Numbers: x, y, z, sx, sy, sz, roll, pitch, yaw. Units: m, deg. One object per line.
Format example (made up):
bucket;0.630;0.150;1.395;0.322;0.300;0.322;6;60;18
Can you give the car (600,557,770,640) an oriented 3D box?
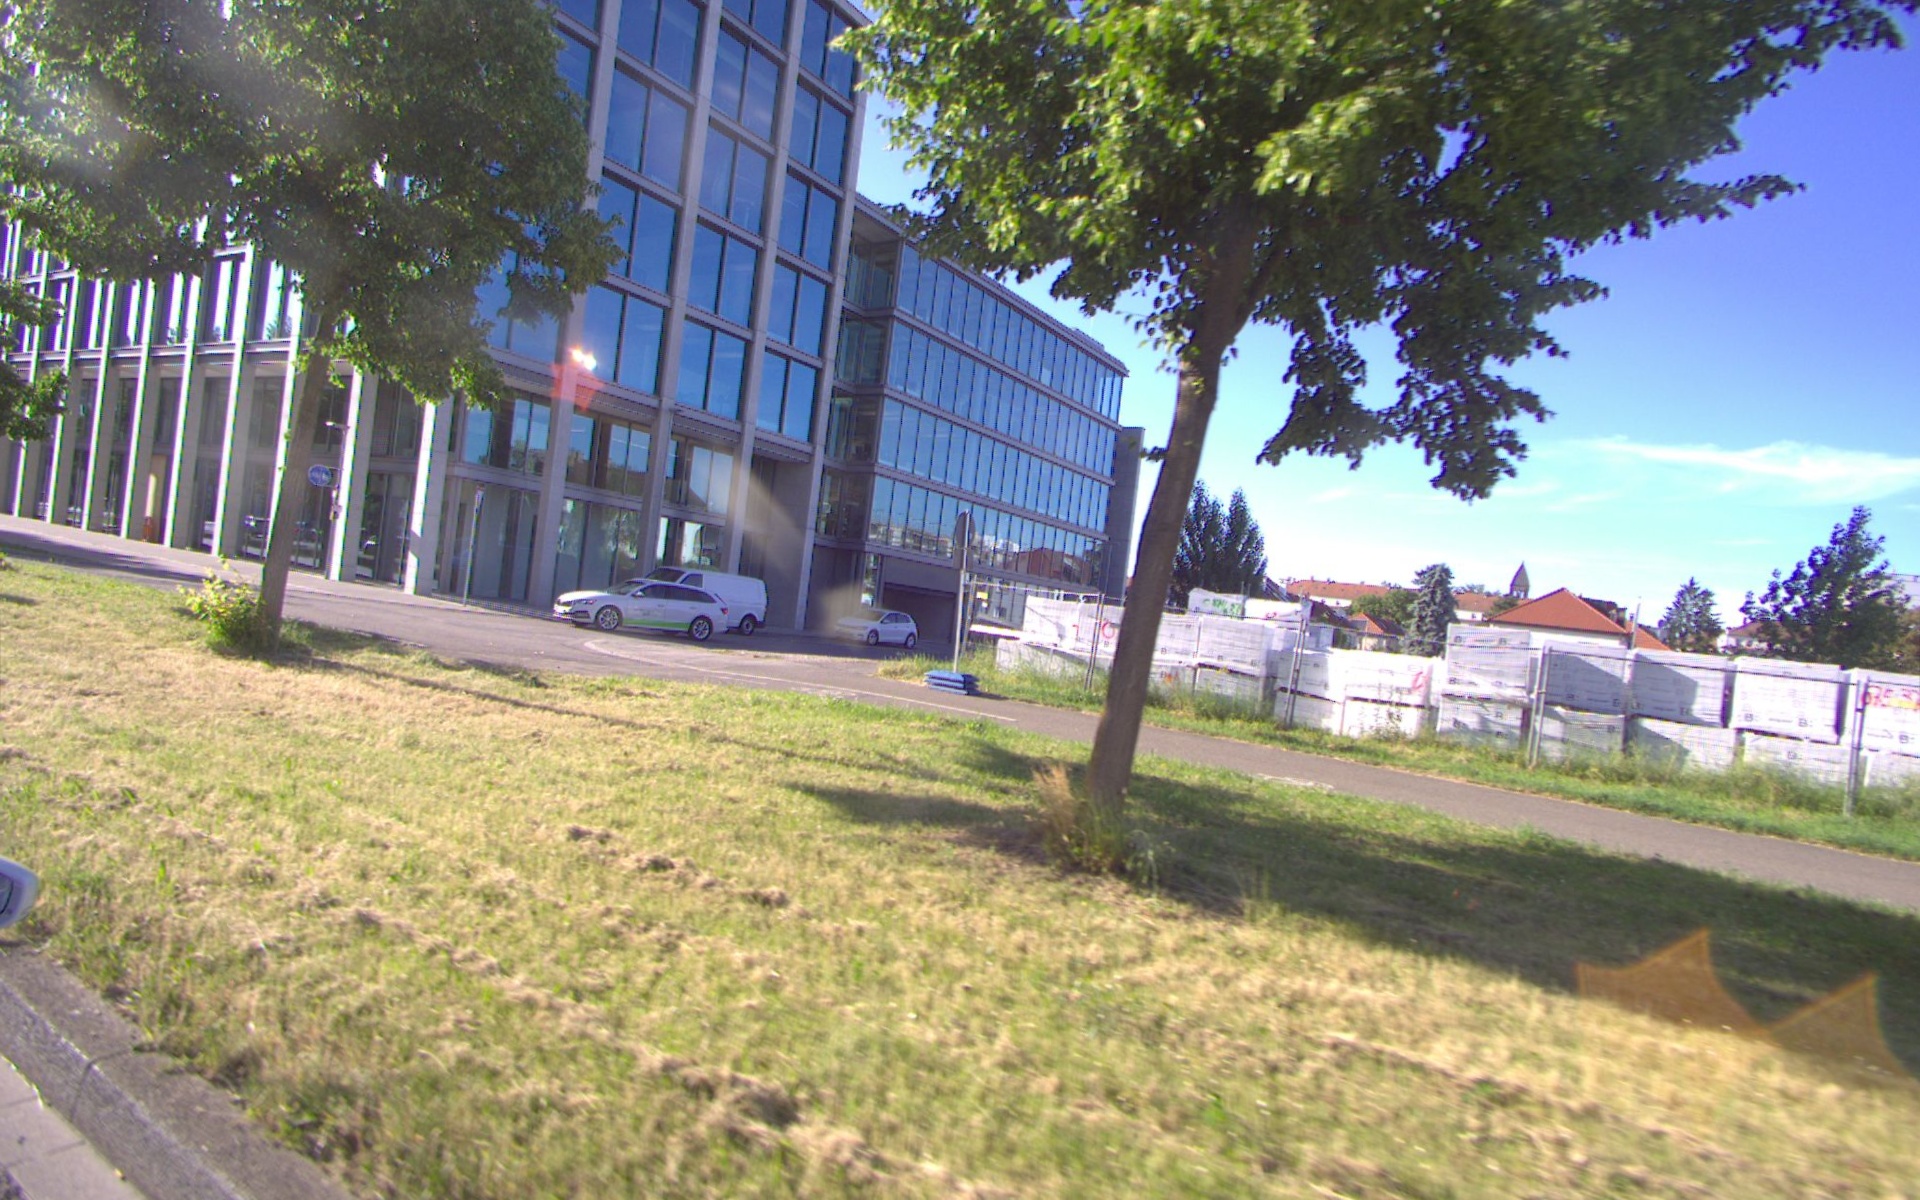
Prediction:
car;-8.752;0.011;32.482;1.908;2.005;5.071;7;-1;35

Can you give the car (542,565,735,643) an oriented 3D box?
car;-8.451;0.150;26.768;1.751;1.408;4.507;4;-5;44

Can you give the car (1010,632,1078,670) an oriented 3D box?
car;4.295;2.586;50.961;1.721;1.570;3.838;5;-2;34
